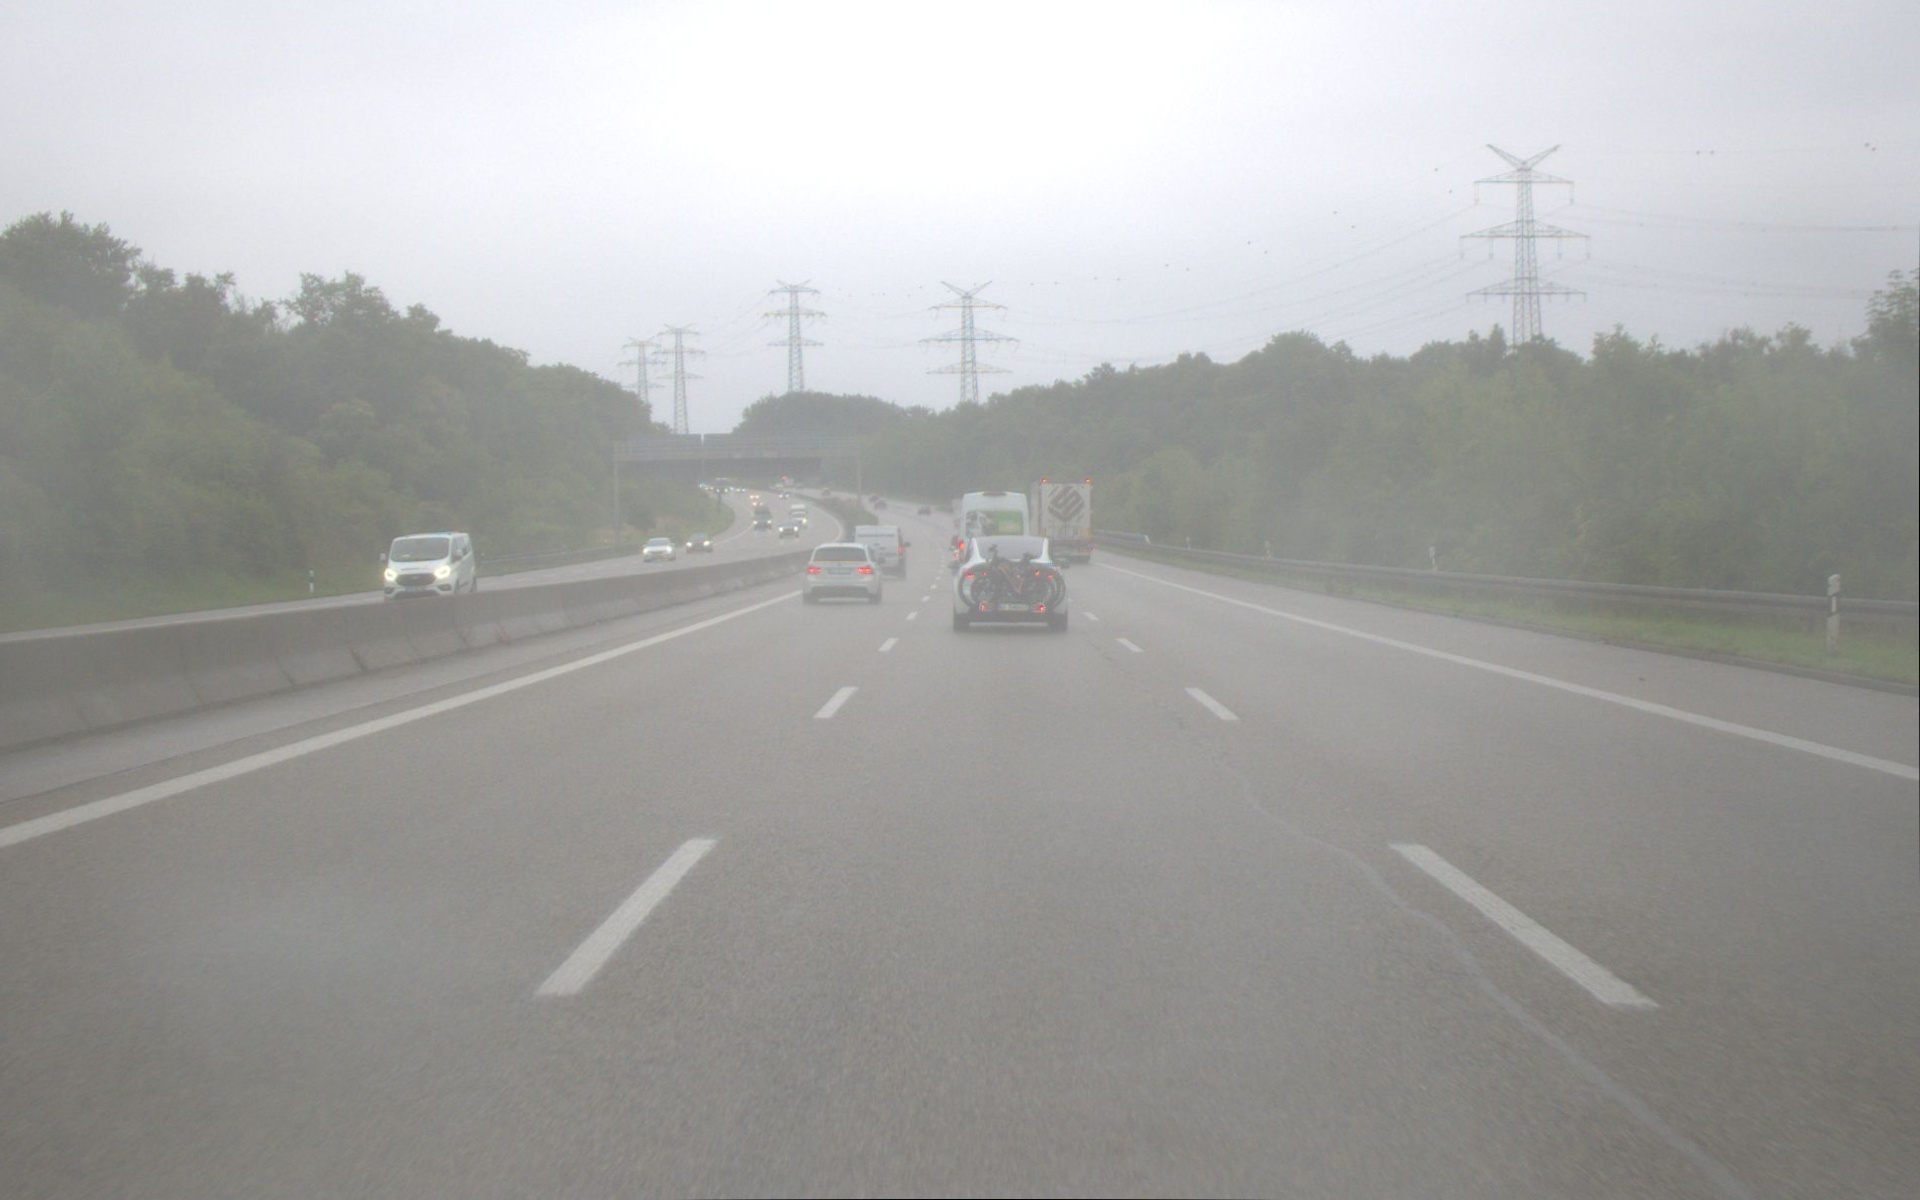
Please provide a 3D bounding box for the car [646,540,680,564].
[{"bbox_3d":[-18.565,-3.036,215.123,1.797,1.445,4.629,-1,1,-1],"label":"car"}]

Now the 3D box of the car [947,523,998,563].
[{"bbox_3d":[0.451,-2.124,128.211,1.857,1.417,4.001,0,2,0],"label":"car"}]

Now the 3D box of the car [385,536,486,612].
[{"bbox_3d":[-14.460,-0.747,95.097,1.993,2.007,5.762,-1,1,-1],"label":"car"}]

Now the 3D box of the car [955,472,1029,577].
[{"bbox_3d":[0.890,-2.087,96.371,1.993,2.854,4.000,1,0,1],"label":"car"}]

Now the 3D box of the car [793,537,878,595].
[{"bbox_3d":[-2.886,-0.807,80.362,1.866,1.284,4.000,-1,1,-1],"label":"car"}]

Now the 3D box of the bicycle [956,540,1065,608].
[{"bbox_3d":[0.813,-0.427,55.652,1.753,1.087,0.914,0,0,0],"label":"bicycle"}]

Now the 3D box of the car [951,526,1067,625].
[{"bbox_3d":[0.794,-0.448,58.605,1.860,1.562,4.964,0,2,0],"label":"car"}]

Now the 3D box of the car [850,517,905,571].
[{"bbox_3d":[-2.820,-1.908,117.757,1.846,1.766,4.000,1,0,-1],"label":"car"}]

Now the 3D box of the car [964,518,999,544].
[{"bbox_3d":[1.326,-4.265,212.778,1.993,1.568,4.000,-2,1,-1],"label":"car"}]

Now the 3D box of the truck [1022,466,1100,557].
[{"bbox_3d":[4.950,-4.428,171.500,3.603,4.317,13.200,-1,2,1],"label":"truck"}]
